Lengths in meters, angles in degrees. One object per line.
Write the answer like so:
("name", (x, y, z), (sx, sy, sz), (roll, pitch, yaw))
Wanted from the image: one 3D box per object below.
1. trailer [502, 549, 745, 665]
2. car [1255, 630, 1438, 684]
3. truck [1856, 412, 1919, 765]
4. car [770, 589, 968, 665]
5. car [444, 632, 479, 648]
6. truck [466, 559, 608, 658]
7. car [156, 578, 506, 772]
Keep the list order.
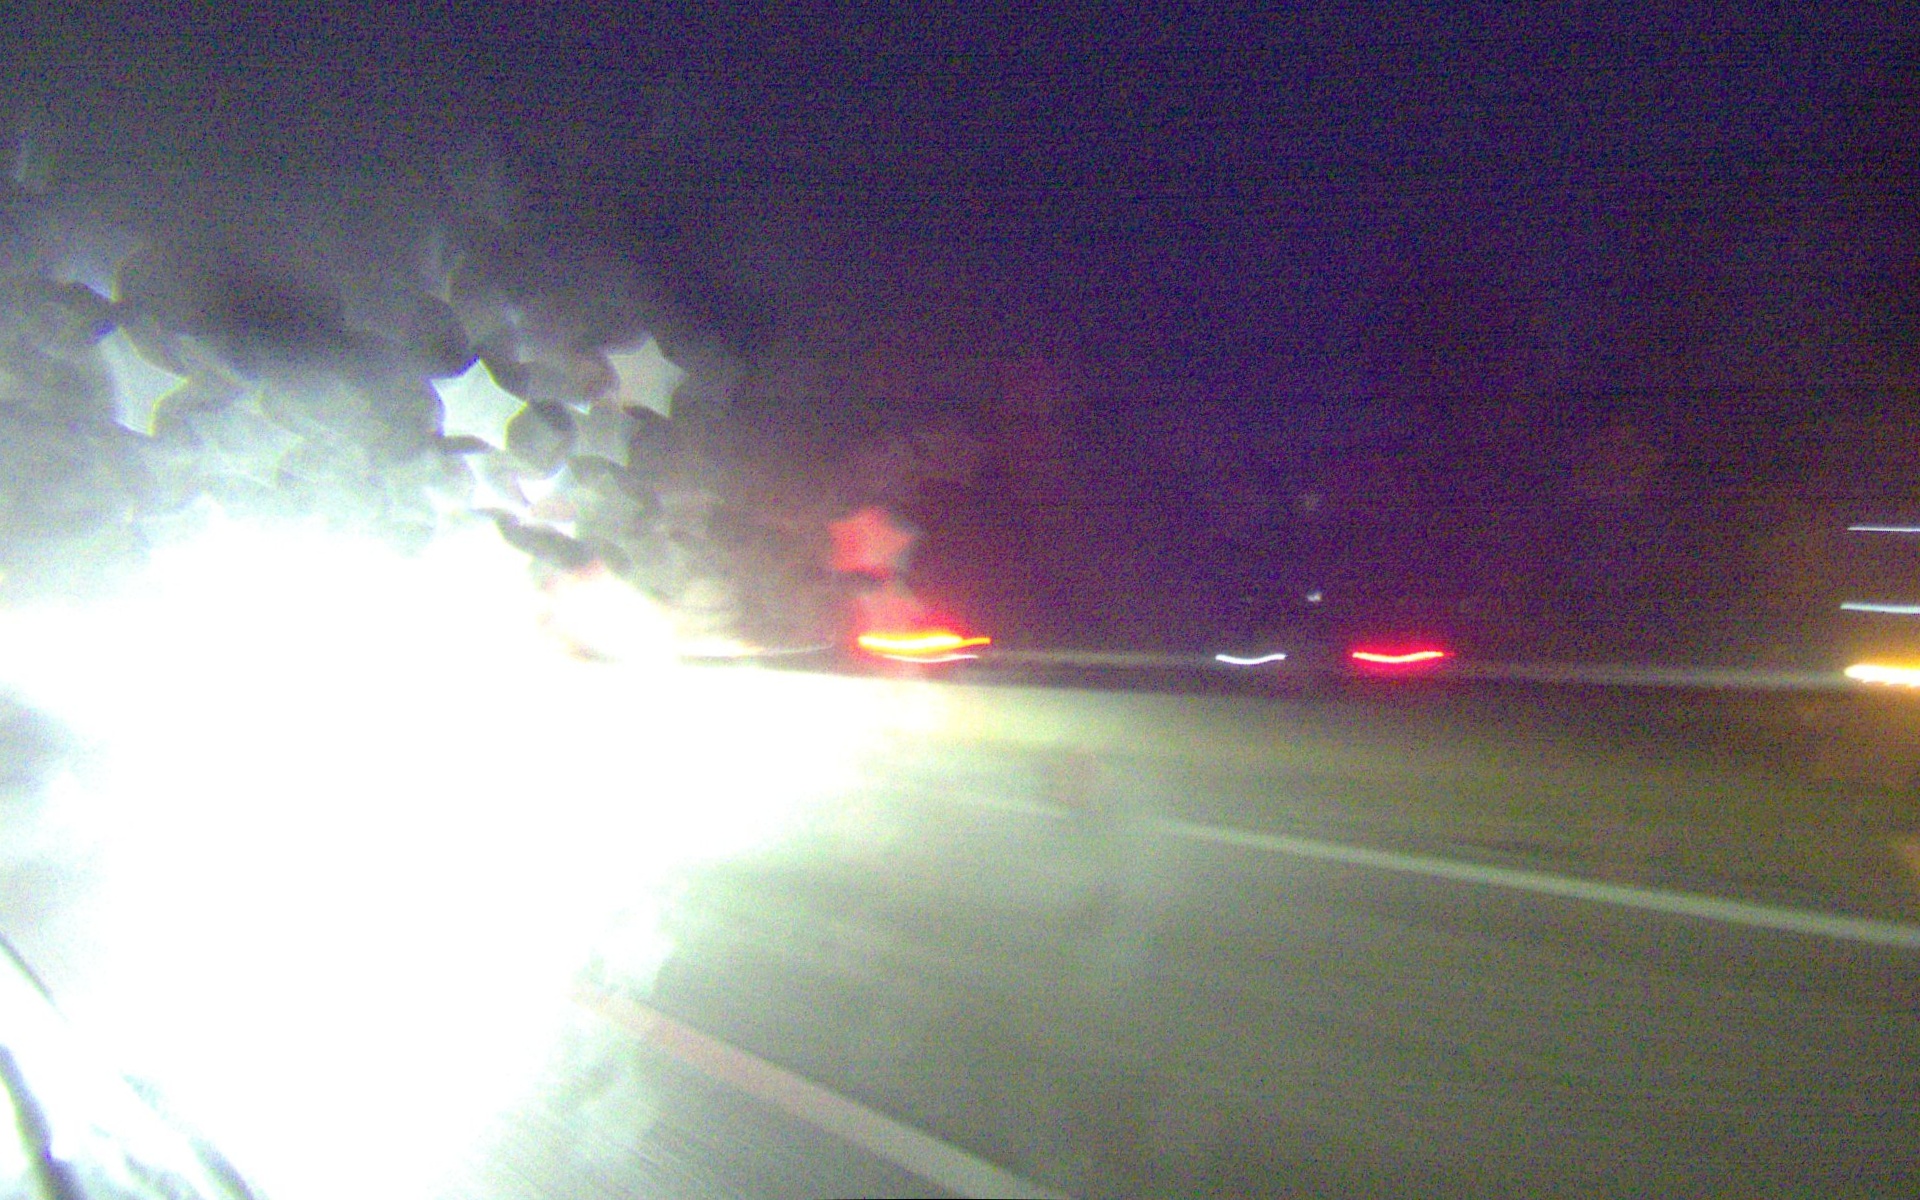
("trailer", (-12.924, 0.346, 37.906), (12.012, 3.777, 2.669), (-1, -4, 40))
("car", (11.304, 1.655, 29.794), (4.795, 1.434, 1.594), (-1, -4, 42))
("truck", (16.610, -0.136, 12.965), (7.574, 4.886, 2.892), (-1, -4, 41))
("car", (-2.192, 0.632, 23.591), (4.591, 1.611, 1.973), (-1, -3, 41))
("car", (-42.290, 3.386, 85.806), (3.554, 1.294, 1.469), (-1, -4, 42))
("truck", (-17.574, 0.406, 41.868), (6.449, 3.788, 2.669), (-1, -4, 40))
("car", (-7.975, 0.784, 12.559), (5.552, 1.899, 2.115), (-1, -2, 41))
